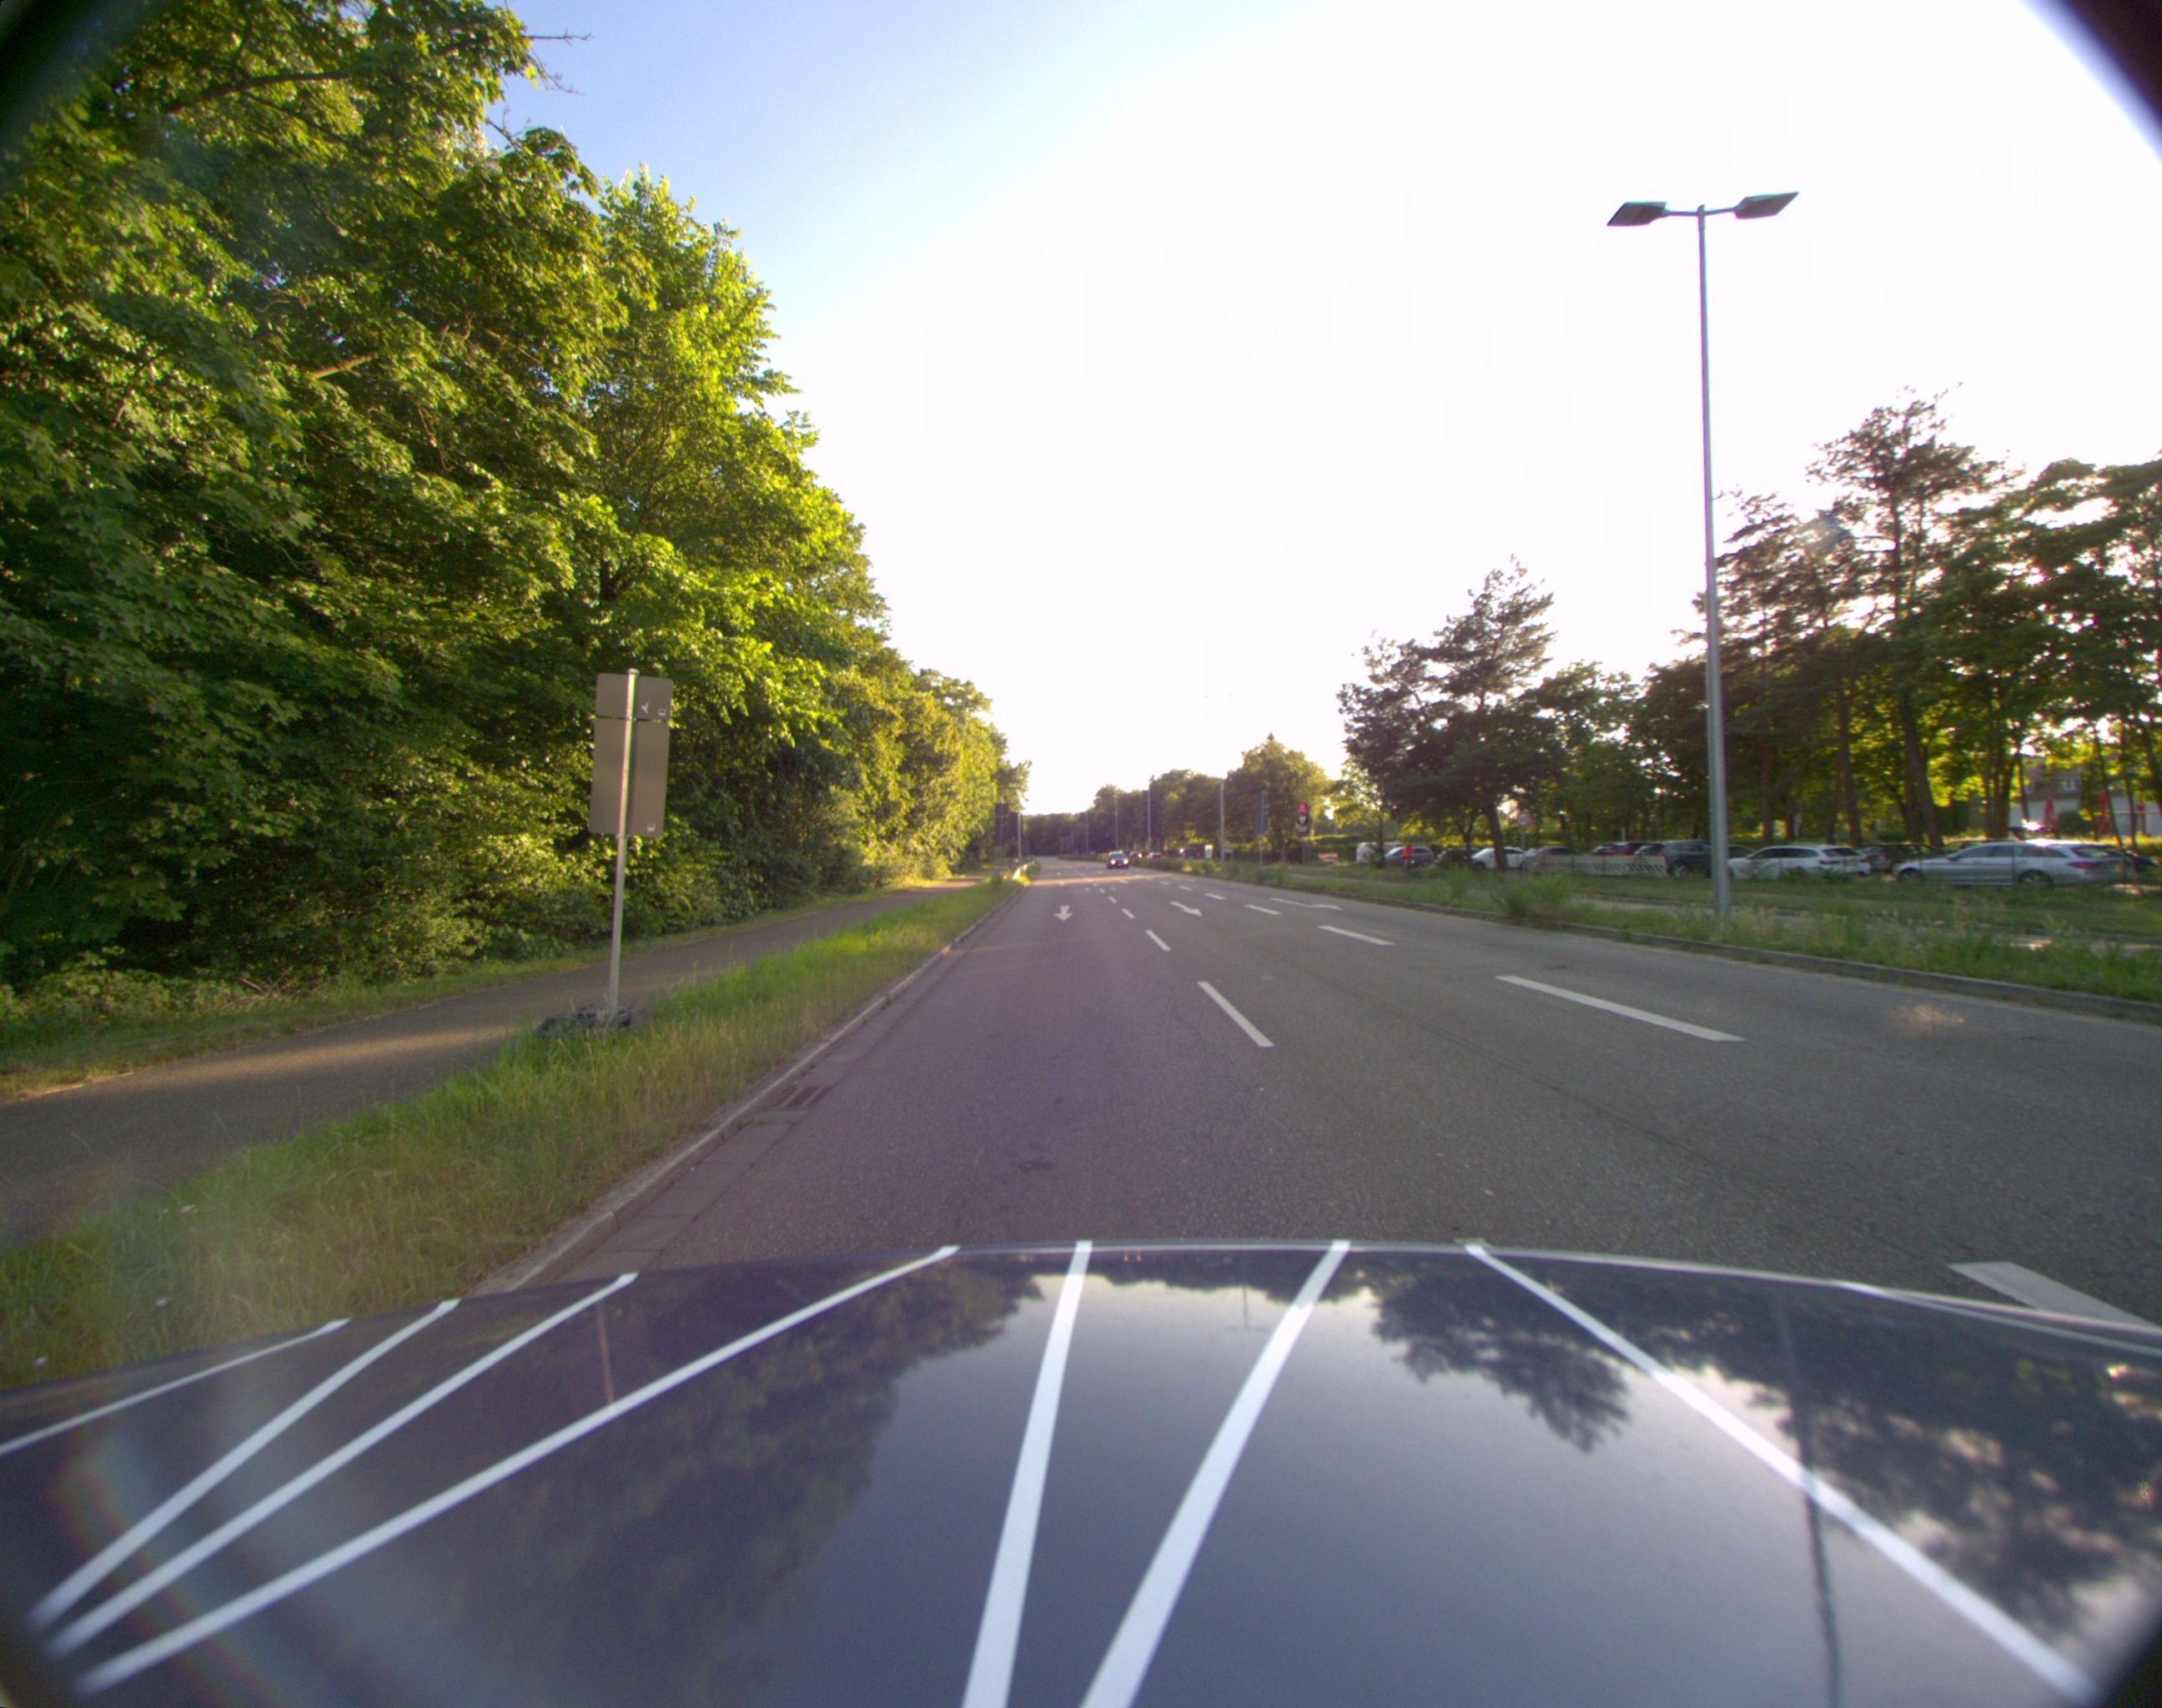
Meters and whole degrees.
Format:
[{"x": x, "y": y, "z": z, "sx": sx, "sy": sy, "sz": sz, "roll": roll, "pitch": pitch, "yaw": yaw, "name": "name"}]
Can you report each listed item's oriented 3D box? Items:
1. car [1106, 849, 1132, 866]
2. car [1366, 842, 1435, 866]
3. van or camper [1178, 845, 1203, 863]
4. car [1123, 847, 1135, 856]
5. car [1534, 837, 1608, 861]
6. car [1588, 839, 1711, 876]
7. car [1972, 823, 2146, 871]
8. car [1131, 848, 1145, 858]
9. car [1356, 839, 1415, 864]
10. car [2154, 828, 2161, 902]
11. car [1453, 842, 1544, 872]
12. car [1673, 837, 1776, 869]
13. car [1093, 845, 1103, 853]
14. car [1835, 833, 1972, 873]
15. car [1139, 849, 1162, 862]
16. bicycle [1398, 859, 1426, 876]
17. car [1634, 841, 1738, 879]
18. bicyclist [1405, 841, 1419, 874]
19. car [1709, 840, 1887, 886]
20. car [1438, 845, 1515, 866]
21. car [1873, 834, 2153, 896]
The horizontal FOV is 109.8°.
[{"x": 3.513, "y": 0.317, "z": 70.908, "sx": 1.999, "sy": 1.543, "sz": 3.999, "roll": -1, "pitch": 0, "yaw": -2, "name": "car"}, {"x": 24.186, "y": -0.020, "z": 57.617, "sx": 4.498, "sy": 1.787, "sz": 1.909, "roll": -1, "pitch": 1, "yaw": -2, "name": "car"}, {"x": 12.745, "y": 0.031, "z": 88.791, "sx": 1.999, "sy": 2.002, "sz": 4.576, "roll": -1, "pitch": 0, "yaw": -3, "name": "van or camper"}, {"x": 8.734, "y": -0.537, "z": 139.567, "sx": 1.760, "sy": 1.532, "sz": 3.998, "roll": -3, "pitch": 1, "yaw": -2, "name": "car"}, {"x": 34.174, "y": -0.333, "z": 53.064, "sx": 3.997, "sy": 1.641, "sz": 1.766, "roll": -1, "pitch": 1, "yaw": 0, "name": "car"}, {"x": 26.413, "y": 0.156, "z": 35.400, "sx": 4.525, "sy": 1.608, "sz": 1.771, "roll": -1, "pitch": 1, "yaw": -3, "name": "car"}, {"x": 35.013, "y": -0.256, "z": 27.271, "sx": 3.997, "sy": 1.641, "sz": 1.766, "roll": -1, "pitch": 1, "yaw": -1, "name": "car"}, {"x": 9.797, "y": -0.176, "z": 131.299, "sx": 1.760, "sy": 1.532, "sz": 3.998, "roll": -3, "pitch": 1, "yaw": -3, "name": "car"}, {"x": 24.254, "y": -0.169, "z": 60.658, "sx": 3.998, "sy": 1.932, "sz": 1.766, "roll": -1, "pitch": 1, "yaw": -2, "name": "car"}, {"x": 27.131, "y": 0.274, "z": 16.005, "sx": 1.999, "sy": 1.776, "sz": 4.920, "roll": -1, "pitch": 0, "yaw": -4, "name": "car"}, {"x": 25.216, "y": 0.191, "z": 45.994, "sx": 4.497, "sy": 1.743, "sz": 1.909, "roll": -1, "pitch": 1, "yaw": -1, "name": "car"}, {"x": 34.123, "y": -0.070, "z": 40.383, "sx": 3.997, "sy": 1.641, "sz": 1.766, "roll": -1, "pitch": 1, "yaw": 0, "name": "car"}, {"x": 3.829, "y": -1.129, "z": 169.721, "sx": 1.760, "sy": 1.532, "sz": 3.998, "roll": -3, "pitch": 1, "yaw": -3, "name": "car"}, {"x": 35.457, "y": -0.034, "z": 32.827, "sx": 3.997, "sy": 1.641, "sz": 1.766, "roll": -1, "pitch": 1, "yaw": -1, "name": "car"}, {"x": 8.154, "y": 0.204, "z": 89.354, "sx": 1.999, "sy": 1.486, "sz": 4.511, "roll": -1, "pitch": 0, "yaw": -4, "name": "car"}, {"x": 18.904, "y": 0.749, "z": 43.464, "sx": 0.493, "sy": 0.928, "sz": 2.043, "roll": -1, "pitch": 0, "yaw": -6, "name": "bicycle"}, {"x": 25.645, "y": 0.238, "z": 32.268, "sx": 3.099, "sy": 1.518, "sz": 1.659, "roll": -1, "pitch": 1, "yaw": -2, "name": "car"}, {"x": 18.905, "y": 0.214, "z": 43.427, "sx": 0.460, "sy": 1.863, "sz": 0.617, "roll": -1, "pitch": 1, "yaw": -6, "name": "bicyclist"}, {"x": 26.454, "y": 0.291, "z": 28.322, "sx": 1.999, "sy": 1.539, "sz": 4.708, "roll": -1, "pitch": 0, "yaw": -4, "name": "car"}, {"x": 25.175, "y": 0.091, "z": 48.424, "sx": 3.997, "sy": 1.304, "sz": 1.732, "roll": -1, "pitch": 1, "yaw": -1, "name": "car"}, {"x": 26.804, "y": 0.272, "z": 22.213, "sx": 1.999, "sy": 1.597, "sz": 4.920, "roll": -1, "pitch": 0, "yaw": -4, "name": "car"}]
